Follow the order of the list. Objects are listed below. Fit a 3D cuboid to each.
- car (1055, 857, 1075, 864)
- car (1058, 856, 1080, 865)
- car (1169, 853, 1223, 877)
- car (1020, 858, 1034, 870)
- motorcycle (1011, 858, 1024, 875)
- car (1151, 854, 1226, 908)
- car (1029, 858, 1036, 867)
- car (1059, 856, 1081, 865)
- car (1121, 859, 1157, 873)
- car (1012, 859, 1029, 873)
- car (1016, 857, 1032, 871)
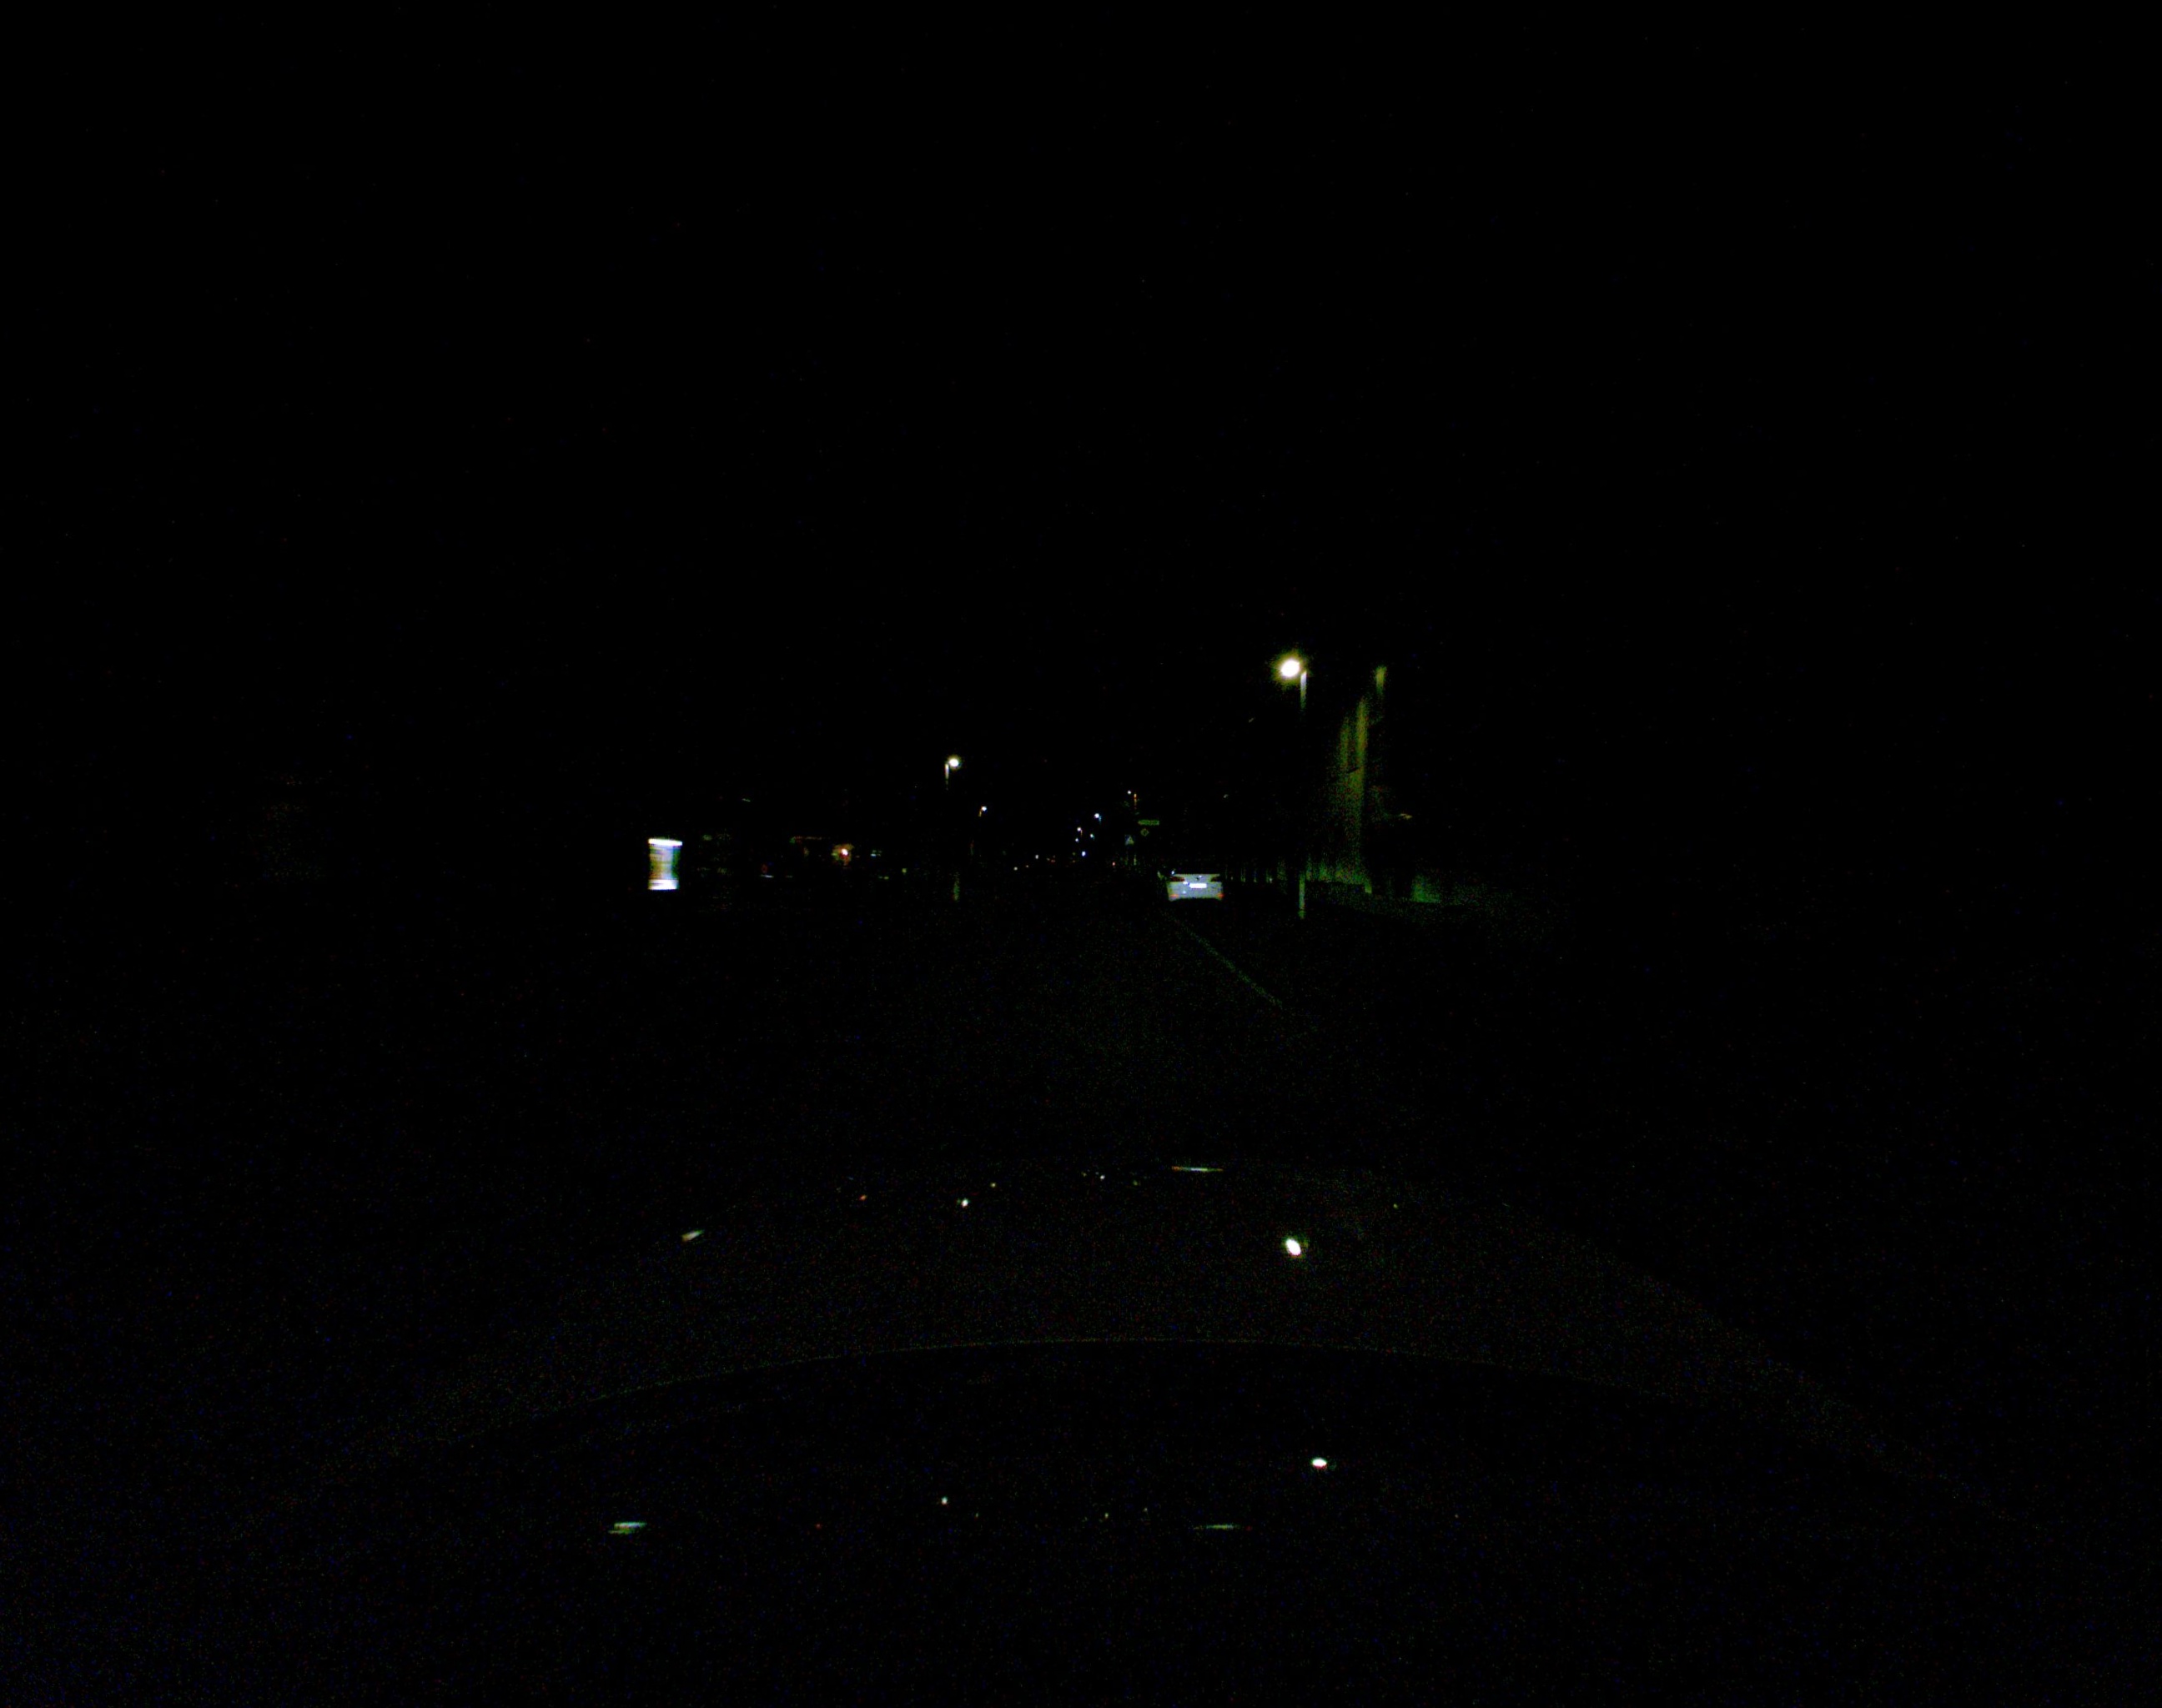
[{"bbox_3d":[-4.252,1.761,220.051,5.156,1.887,2.105,-1,0,6],"label":"car"},{"bbox_3d":[-2.812,1.568,195.354,5.174,2.014,2.098,-1,0,-5],"label":"car"},{"bbox_3d":[8.394,0.809,59.625,3.499,1.525,1.818,-3,-1,-4],"label":"car"},{"bbox_3d":[-7.229,1.282,108.742,1.668,1.522,2.974,3,-1,-5],"label":"car"},{"bbox_3d":[-5.470,1.054,70.478,0.742,1.452,2.199,0,-1,5],"label":"motorcycle"},{"bbox_3d":[3.359,0.817,26.178,1.738,1.569,4.206,0,0,-2],"label":"car"},{"bbox_3d":[-12.948,2.228,218.349,1.821,1.987,4.457,2,-4,-4],"label":"car"},{"bbox_3d":[-2.708,1.553,198.429,5.174,2.014,2.098,-1,0,-5],"label":"car"},{"bbox_3d":[6.174,1.270,86.963,3.700,1.473,1.730,1,-1,-1],"label":"car"},{"bbox_3d":[-6.691,1.263,90.045,1.684,1.510,4.274,0,0,-2],"label":"car"},{"bbox_3d":[-6.627,1.168,94.748,1.762,1.519,4.273,2,0,-3],"label":"car"}]
